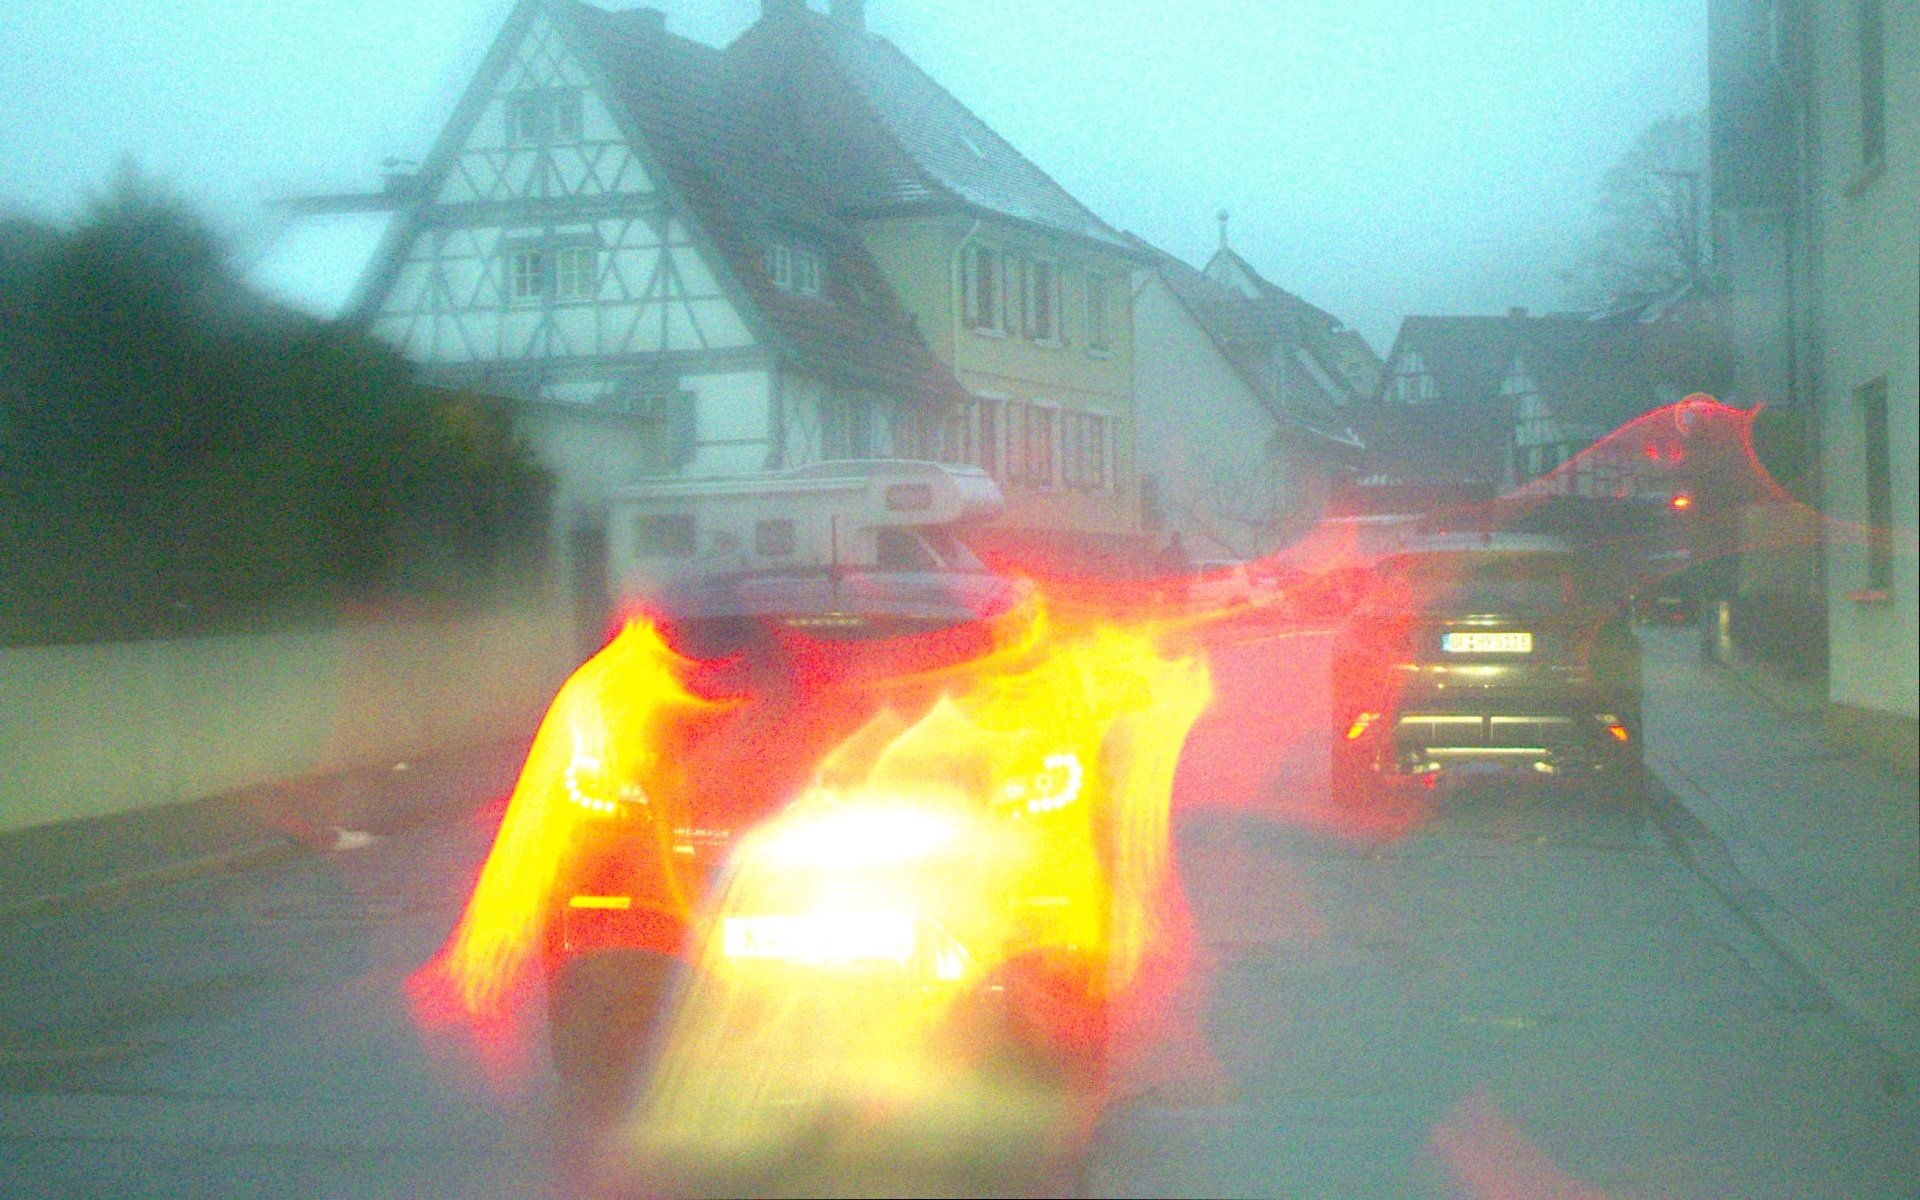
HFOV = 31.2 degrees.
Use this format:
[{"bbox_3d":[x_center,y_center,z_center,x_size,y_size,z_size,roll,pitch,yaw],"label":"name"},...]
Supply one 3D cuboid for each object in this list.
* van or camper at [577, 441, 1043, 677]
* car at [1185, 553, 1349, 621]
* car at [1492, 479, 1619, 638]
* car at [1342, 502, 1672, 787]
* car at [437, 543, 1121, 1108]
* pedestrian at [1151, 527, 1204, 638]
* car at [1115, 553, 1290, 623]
[{"bbox_3d":[-2.130,-0.567,49.180,6.065,2.945,2.404,-3,0,16],"label":"van or camper"},{"bbox_3d":[6.910,-0.291,77.291,3.509,1.502,1.691,0,1,12],"label":"car"},{"bbox_3d":[9.362,-0.647,53.899,1.815,2.405,3.749,0,1,12],"label":"car"},{"bbox_3d":[3.412,0.238,22.139,1.848,1.631,4.335,1,1,6],"label":"car"},{"bbox_3d":[-0.444,0.572,11.098,1.795,1.471,4.000,1,1,1],"label":"car"},{"bbox_3d":[3.980,-0.322,62.925,0.874,2.007,0.794,0,0,10],"label":"pedestrian"},{"bbox_3d":[5.298,-0.269,75.028,3.510,1.502,1.691,0,1,18],"label":"car"}]
